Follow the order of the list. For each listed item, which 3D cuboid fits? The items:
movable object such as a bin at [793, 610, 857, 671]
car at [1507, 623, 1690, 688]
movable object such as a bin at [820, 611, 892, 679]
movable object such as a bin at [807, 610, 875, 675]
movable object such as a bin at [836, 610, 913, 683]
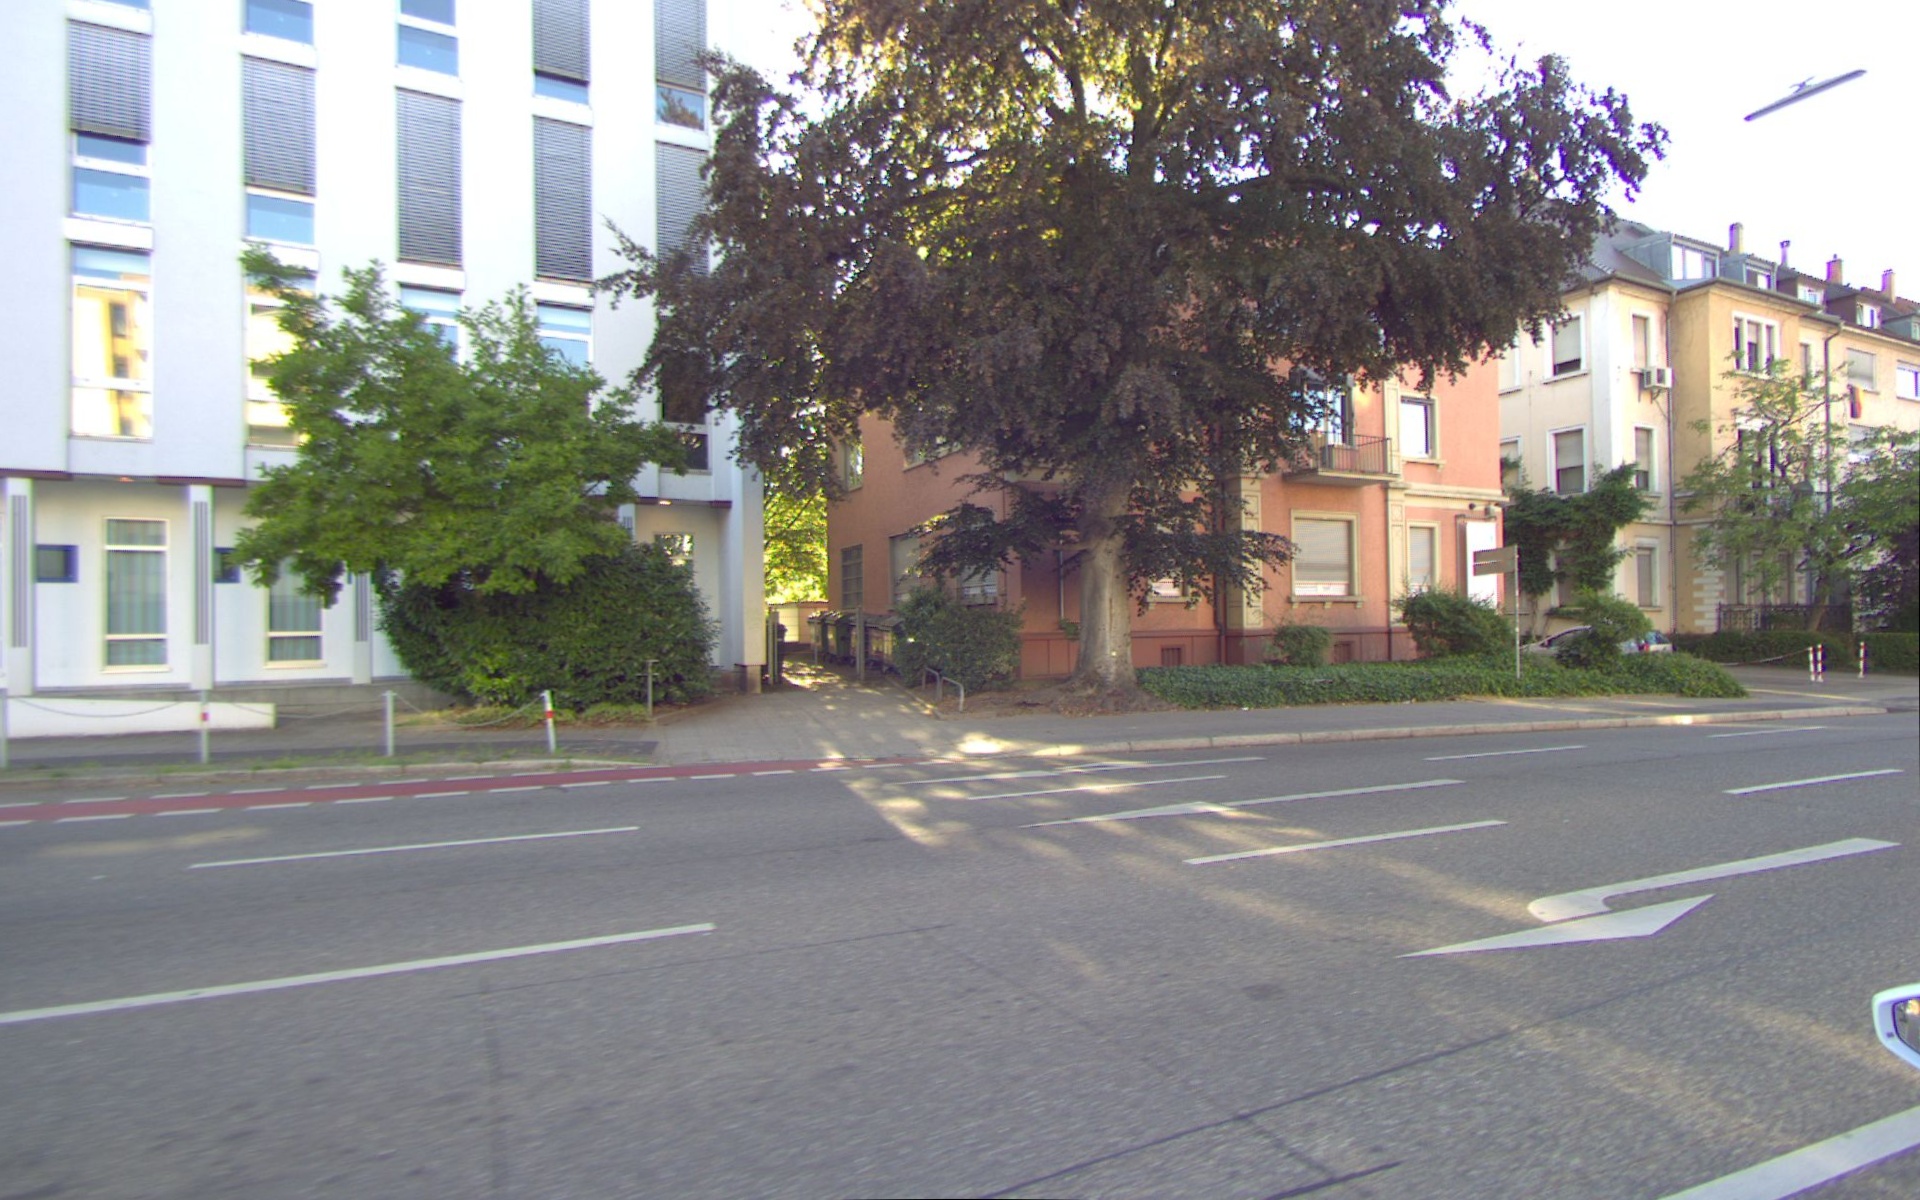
[{"bbox_3d":[-3.866,1.142,28.710,1.436,1.673,1.499,-1,-1,-23],"label":"movable object such as a bin"},{"bbox_3d":[16.111,1.372,25.503,1.794,1.505,3.481,0,-2,-30],"label":"car"},{"bbox_3d":[-2.676,1.136,25.733,1.436,1.673,1.499,-1,-1,-23],"label":"movable object such as a bin"},{"bbox_3d":[-3.243,1.132,27.268,1.436,1.673,1.499,-1,-1,-23],"label":"movable object such as a bin"},{"bbox_3d":[-2.092,1.111,24.269,1.436,1.673,1.499,-1,-1,-23],"label":"movable object such as a bin"}]
